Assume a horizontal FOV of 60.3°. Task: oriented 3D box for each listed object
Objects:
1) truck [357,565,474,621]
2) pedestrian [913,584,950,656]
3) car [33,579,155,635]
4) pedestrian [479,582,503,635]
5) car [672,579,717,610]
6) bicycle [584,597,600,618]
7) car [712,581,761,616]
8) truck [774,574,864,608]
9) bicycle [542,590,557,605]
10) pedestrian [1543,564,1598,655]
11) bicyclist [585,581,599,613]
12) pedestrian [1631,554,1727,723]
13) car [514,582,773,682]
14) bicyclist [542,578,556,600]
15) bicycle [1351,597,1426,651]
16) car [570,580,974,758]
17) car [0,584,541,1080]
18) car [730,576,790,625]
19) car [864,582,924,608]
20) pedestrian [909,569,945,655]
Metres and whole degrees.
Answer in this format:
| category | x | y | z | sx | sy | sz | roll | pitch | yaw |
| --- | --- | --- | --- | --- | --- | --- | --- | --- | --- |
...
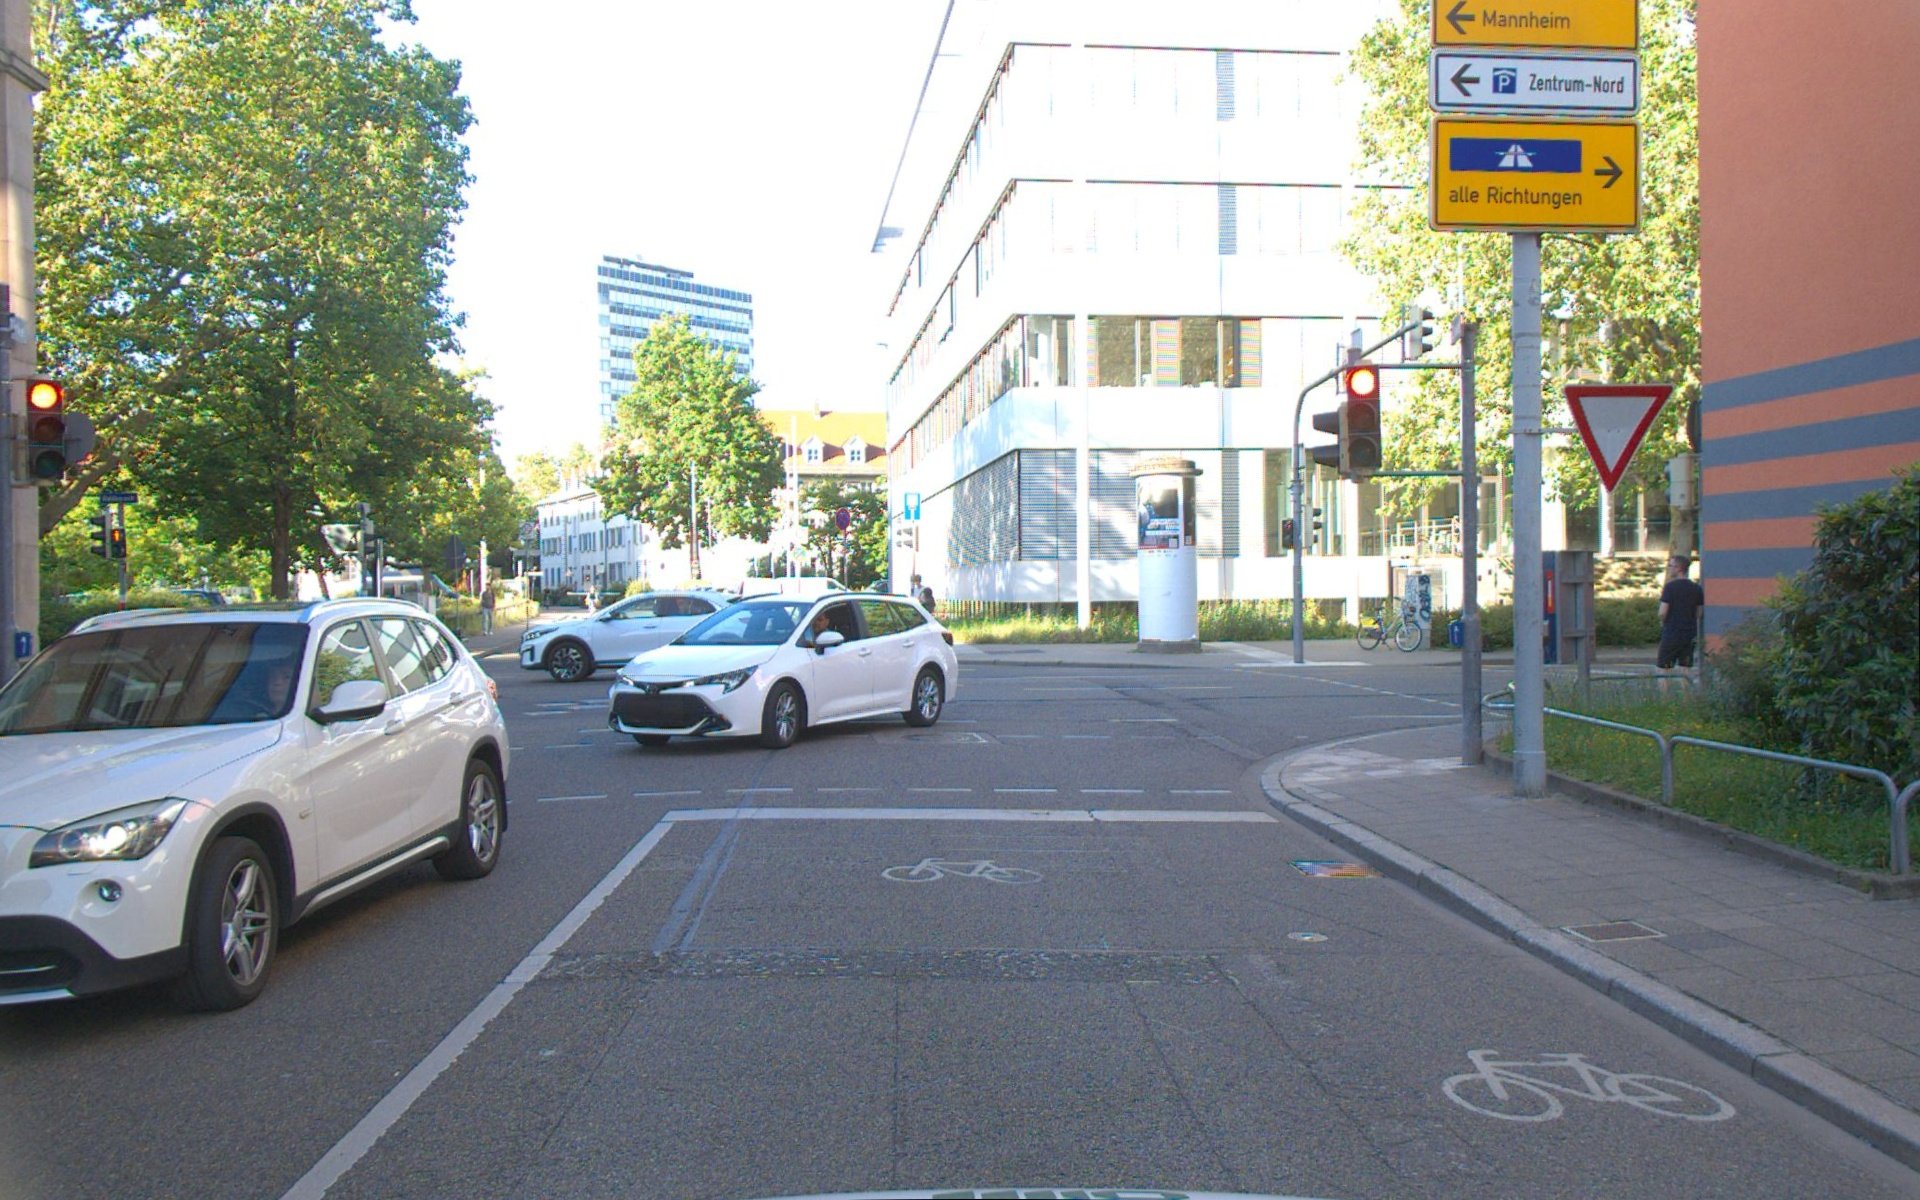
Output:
| category | x | y | z | sx | sy | sz | roll | pitch | yaw |
| --- | --- | --- | --- | --- | --- | --- | --- | --- | --- |
| truck | -24.558 | -0.330 | 74.766 | 4.741 | 2.441 | 2.082 | 0 | 1 | -11 |
| pedestrian | -0.641 | 0.434 | 37.194 | 0.551 | 1.567 | 0.673 | -4 | 1 | -19 |
| car | -39.970 | 0.319 | 76.450 | 4.472 | 2.433 | 2.069 | -2 | 0 | -10 |
| pedestrian | -15.746 | 0.278 | 55.480 | 0.692 | 1.753 | 0.950 | -2 | 0 | -17 |
| car | -15.340 | -0.328 | 95.274 | 1.860 | 1.684 | 4.391 | 0 | 1 | -19 |
| bicycle | -18.082 | 0.381 | 81.309 | 0.604 | 0.986 | 1.837 | -1 | 1 | -9 |
| car | -10.602 | -0.094 | 78.160 | 1.856 | 1.582 | 4.400 | 0 | 1 | -14 |
| truck | -8.770 | -0.548 | 102.933 | 5.258 | 2.049 | 1.989 | -1 | 0 | -20 |
| bicycle | -29.634 | -0.190 | 119.382 | 0.850 | 1.027 | 2.407 | -3 | 0 | -11 |
| pedestrian | 12.698 | 0.191 | 34.420 | 0.818 | 1.872 | 0.708 | 1 | 0 | -5 |
| bicyclist | -18.091 | -0.134 | 81.320 | 0.604 | 1.559 | 0.901 | -1 | 0 | -9 |
| pedestrian | 8.174 | 0.421 | 18.833 | 0.692 | 1.872 | 0.837 | 1 | 0 | -1 |
| car | -5.374 | 0.519 | 28.550 | 4.239 | 1.603 | 1.821 | -1 | 0 | -8 |
| bicyclist | -29.664 | -0.809 | 119.395 | 0.850 | 1.541 | 1.016 | -3 | 0 | -11 |
| bicycle | 9.353 | 0.506 | 36.178 | 0.503 | 1.067 | 1.667 | -3 | 4 | -35 |
| car | -1.753 | 0.600 | 17.107 | 1.851 | 1.501 | 4.538 | -1 | 1 | 29 |
| car | -3.440 | 0.780 | 7.634 | 1.650 | 1.610 | 4.276 | -3 | 0 | 3 |
| car | -7.861 | -0.009 | 64.731 | 2.047 | 1.827 | 4.404 | 0 | 1 | -10 |
| car | -4.155 | -0.329 | 104.188 | 3.502 | 1.573 | 1.549 | -1 | 0 | -20 |
| pedestrian | -0.756 | 0.268 | 37.798 | 0.547 | 1.882 | 0.678 | -3 | 1 | 15 |
